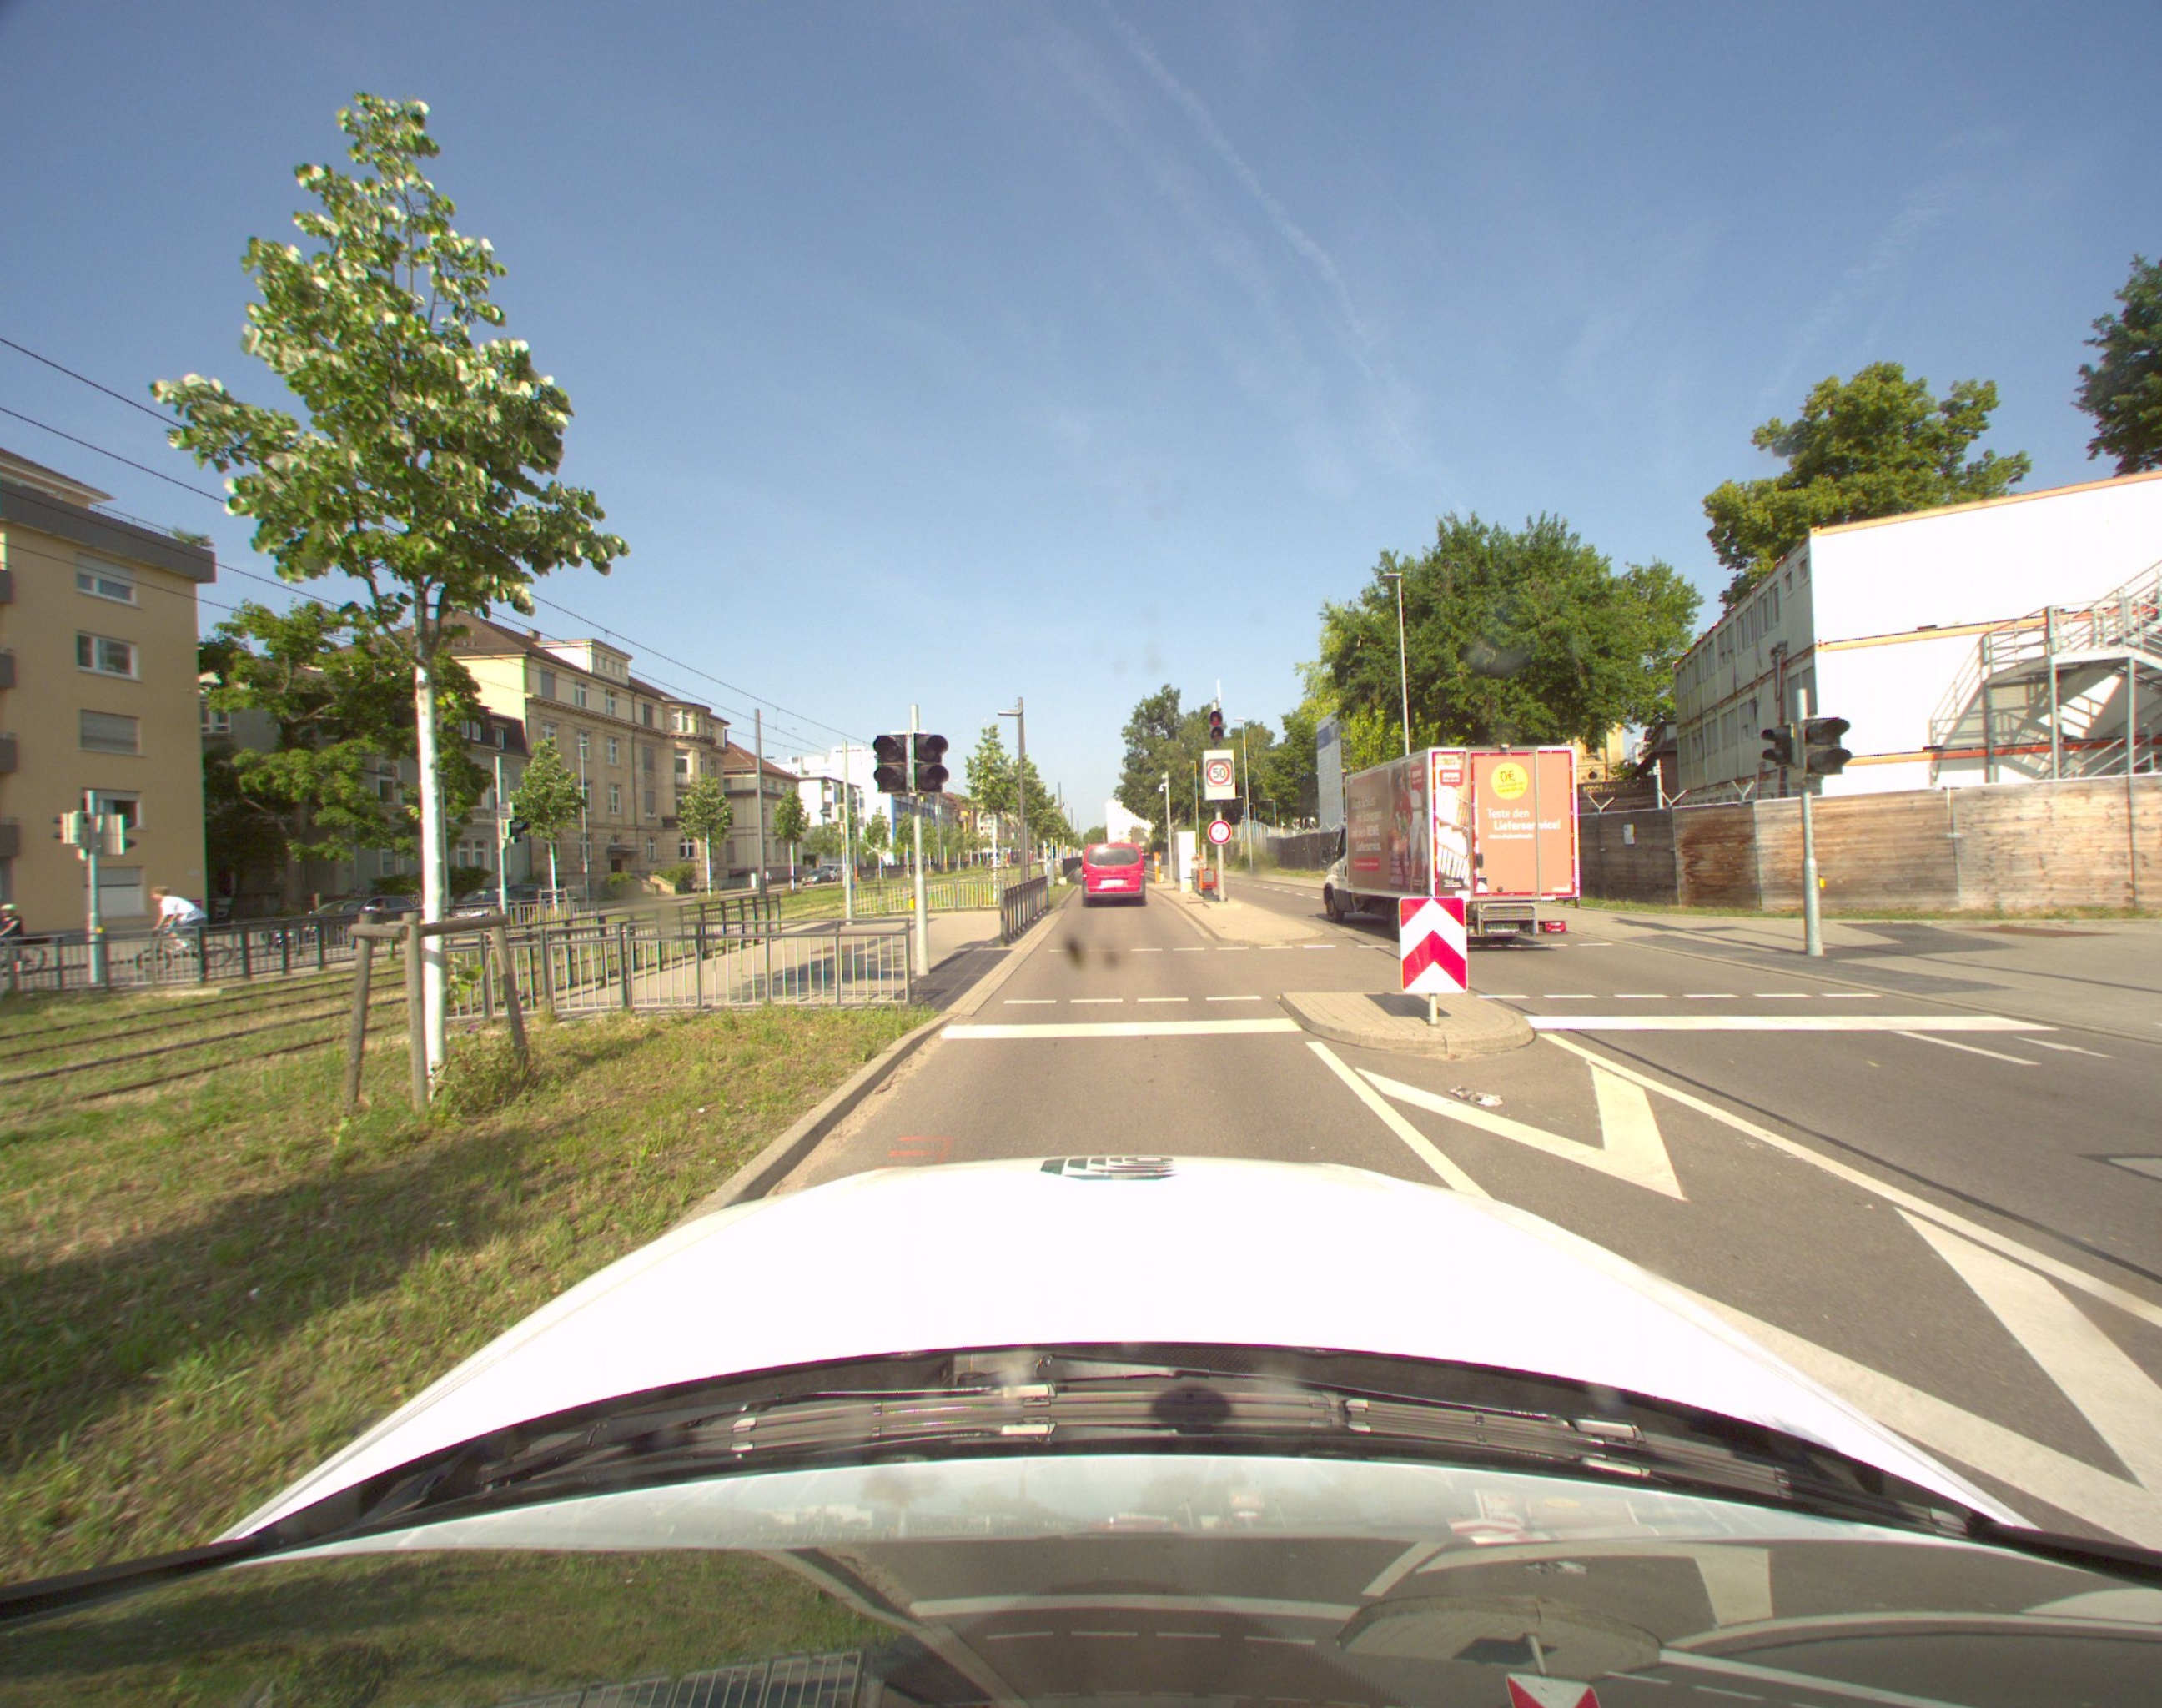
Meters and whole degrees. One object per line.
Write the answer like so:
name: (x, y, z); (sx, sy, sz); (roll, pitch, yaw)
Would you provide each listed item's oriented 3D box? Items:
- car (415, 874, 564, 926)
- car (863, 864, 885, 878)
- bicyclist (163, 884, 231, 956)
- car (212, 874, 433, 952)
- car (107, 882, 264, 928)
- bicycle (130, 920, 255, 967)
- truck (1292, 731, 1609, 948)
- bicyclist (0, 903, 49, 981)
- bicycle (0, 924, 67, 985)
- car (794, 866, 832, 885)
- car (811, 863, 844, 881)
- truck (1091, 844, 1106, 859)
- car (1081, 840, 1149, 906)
car: (-20.506, 1.544, 28.519); (1.987, 1.513, 4.396); (-2, 0, -1)
car: (-24.803, 2.018, 97.647); (1.514, 1.464, 3.823); (-3, -1, -1)
bicyclist: (-18.366, 1.348, 16.928); (0.679, 1.440, 0.811); (-1, -1, 30)
car: (-23.574, 1.730, 25.702); (1.987, 2.013, 5.301); (-2, 0, -1)
car: (-40.649, 2.291, 37.073); (4.615, 1.748, 2.165); (-3, 0, -1)
bicycle: (-18.385, 1.839, 16.889); (0.711, 0.798, 1.613); (-1, -1, 29)
truck: (6.227, -0.167, 15.402); (2.493, 3.061, 7.820); (0, -1, 1)
bicyclist: (-26.133, 2.130, 19.794); (0.667, 1.805, 1.083); (-2, -1, -2)
bicycle: (-26.127, 2.458, 19.822); (0.693, 1.346, 1.755); (-2, 0, -4)
car: (-25.776, 2.053, 78.478); (1.987, 1.577, 4.528); (-3, 0, 0)
car: (-29.687, 2.109, 95.667); (2.242, 2.014, 5.261); (0, -2, 0)
truck: (4.381, -0.611, 207.468); (3.379, 3.726, 10.451); (-3, 0, 0)
car: (1.037, 0.547, 24.946); (1.894, 1.859, 4.002); (-1, 0, 2)
